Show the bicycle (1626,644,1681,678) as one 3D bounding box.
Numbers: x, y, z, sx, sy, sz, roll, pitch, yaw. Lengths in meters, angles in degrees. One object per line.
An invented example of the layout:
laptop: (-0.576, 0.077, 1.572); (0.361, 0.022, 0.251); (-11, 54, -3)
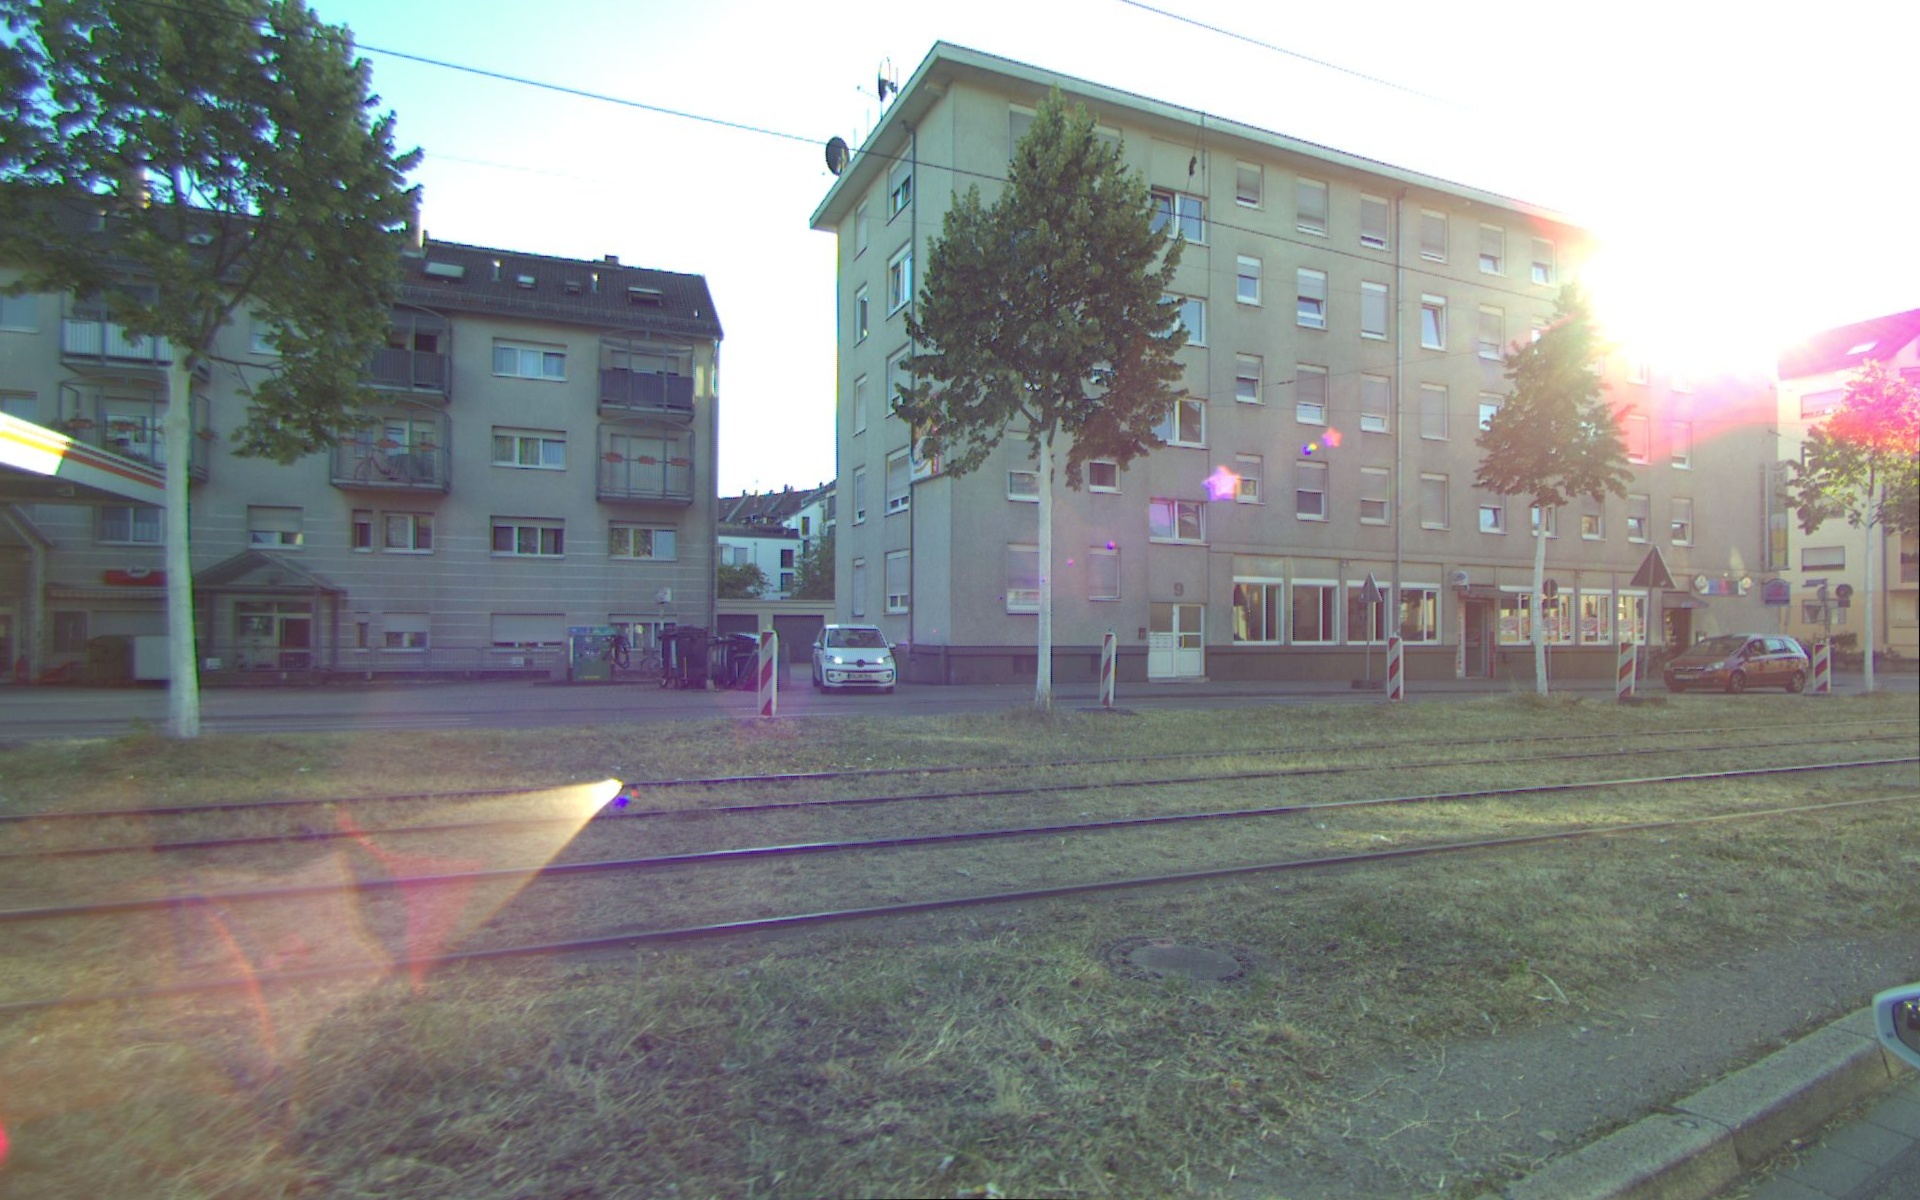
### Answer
bicycle: (23.812, 2.071, 34.480); (1.753, 1.129, 0.745); (1, -2, -24)

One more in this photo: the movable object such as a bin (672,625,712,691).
movable object such as a bin: (-5.875, 1.263, 22.004); (0.739, 1.419, 0.661); (1, -2, -25)

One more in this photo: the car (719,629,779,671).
car: (-8.639, 2.004, 40.851); (1.790, 1.437, 3.921); (2, 0, -20)

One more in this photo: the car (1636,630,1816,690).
car: (21.553, 1.651, 28.256); (4.863, 1.580, 1.808); (1, -2, -22)

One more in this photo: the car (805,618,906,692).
car: (-2.455, 1.235, 22.868); (1.787, 1.532, 3.820); (1, -3, -13)
